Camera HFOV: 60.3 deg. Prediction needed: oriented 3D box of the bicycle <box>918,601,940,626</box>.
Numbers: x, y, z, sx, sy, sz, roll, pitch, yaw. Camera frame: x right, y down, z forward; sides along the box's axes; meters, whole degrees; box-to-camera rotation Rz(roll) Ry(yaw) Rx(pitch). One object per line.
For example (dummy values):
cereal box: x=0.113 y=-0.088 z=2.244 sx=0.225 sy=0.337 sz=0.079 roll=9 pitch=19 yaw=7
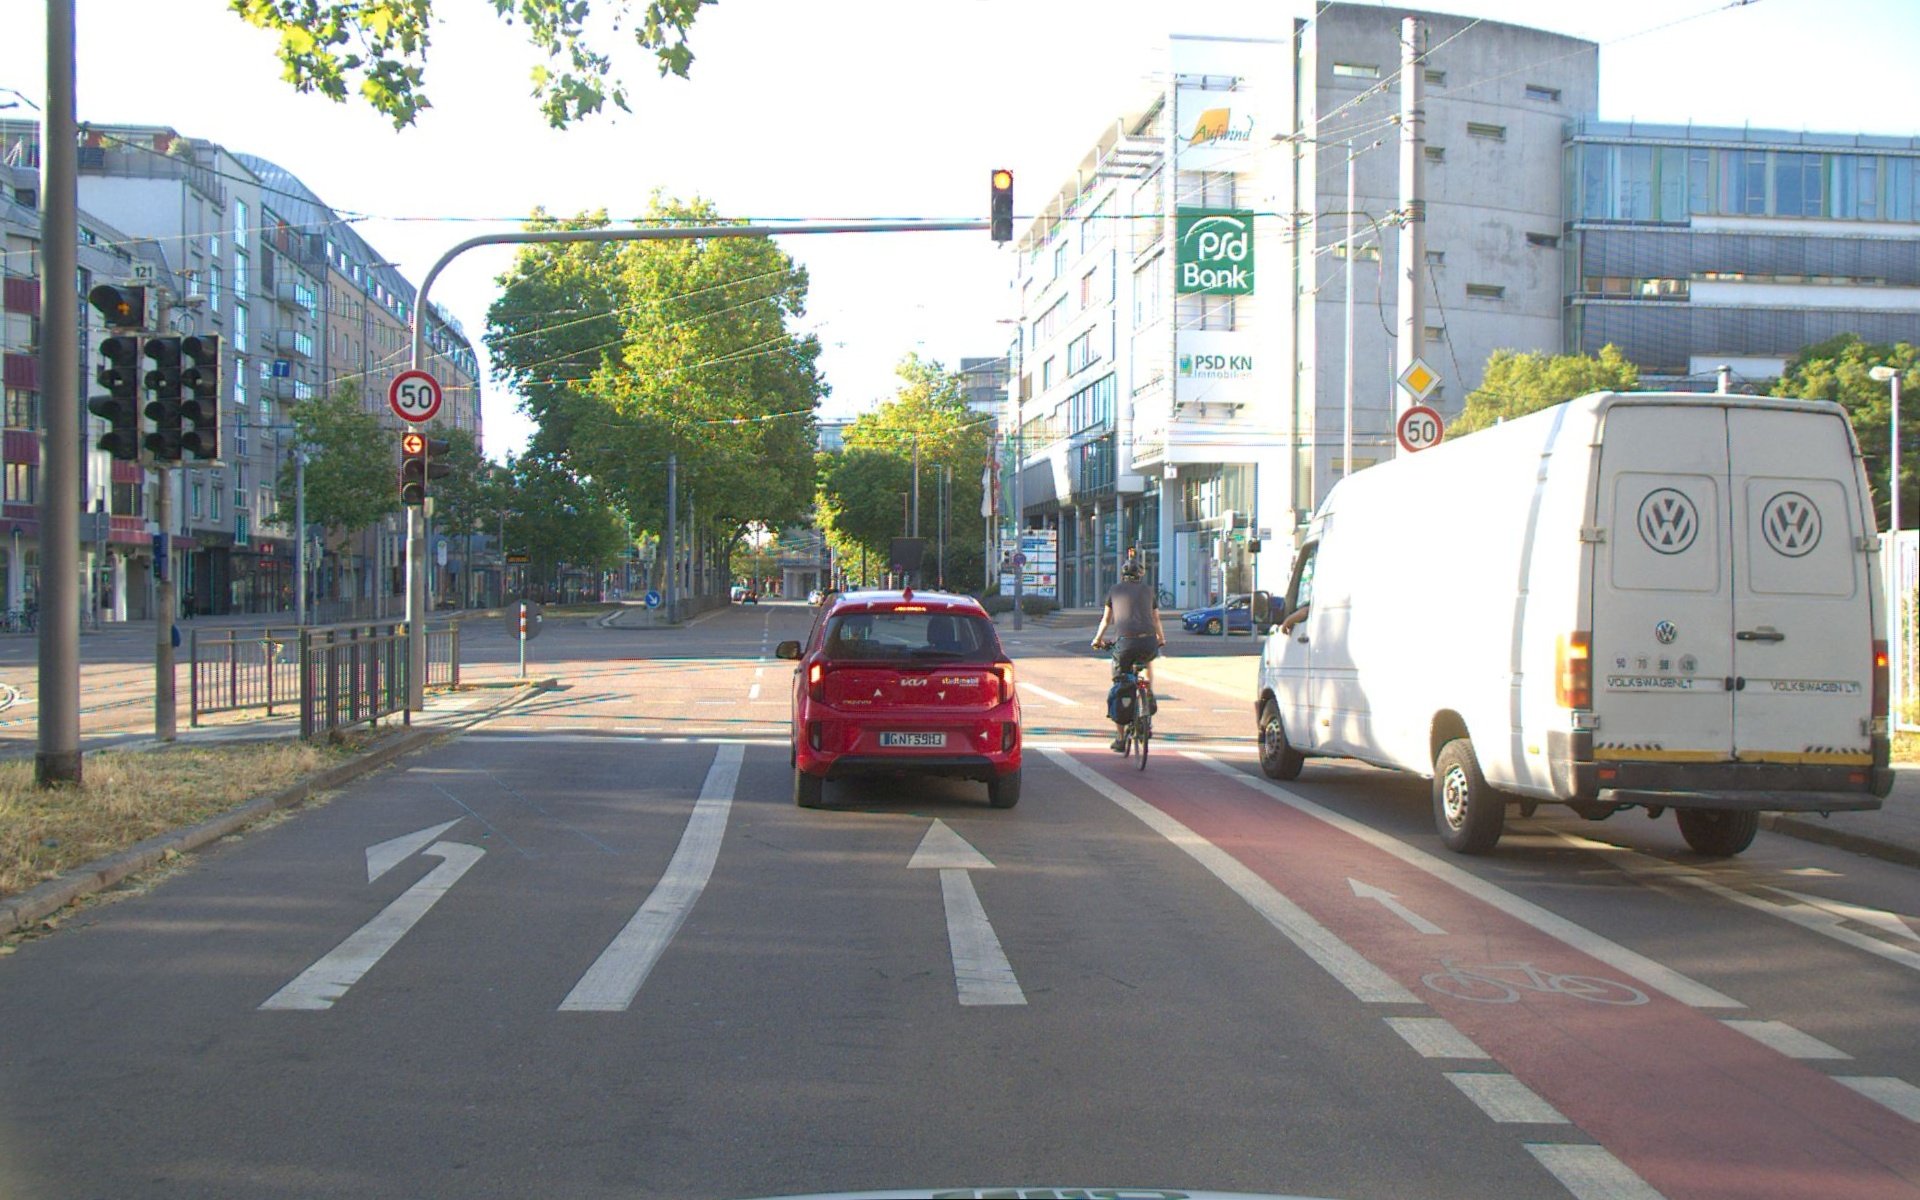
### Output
bicycle: x=-1.514 y=0.647 z=80.734 sx=0.778 sy=1.182 sz=2.495 roll=0 pitch=1 yaw=-9

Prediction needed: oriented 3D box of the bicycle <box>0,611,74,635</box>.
bicycle: x=-31.001 y=0.769 z=55.532 sx=2.130 sy=0.801 sz=0.491 roll=0 pitch=0 yaw=-11

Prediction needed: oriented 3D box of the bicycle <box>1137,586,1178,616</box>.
bicycle: x=9.733 y=0.047 z=81.487 sx=1.898 sy=1.468 sz=0.574 roll=-1 pitch=0 yaw=-9

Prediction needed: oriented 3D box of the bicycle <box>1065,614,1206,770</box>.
bicycle: x=1.550 y=0.792 z=15.029 sx=0.730 sy=1.245 sz=2.152 roll=2 pitch=1 yaw=-8

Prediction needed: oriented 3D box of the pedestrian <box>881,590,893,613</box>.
pedestrian: x=-5.388 y=0.103 z=121.664 sx=0.730 sy=1.746 sz=0.745 roll=0 pitch=0 yaw=-14

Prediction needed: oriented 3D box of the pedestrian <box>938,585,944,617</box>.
pedestrian: x=-0.967 y=0.042 z=84.272 sx=0.289 sy=1.589 sz=0.301 roll=0 pitch=0 yaw=-11

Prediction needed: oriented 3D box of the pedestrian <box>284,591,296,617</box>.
pedestrian: x=-37.682 y=0.211 z=93.035 sx=0.501 sy=1.484 sz=0.527 roll=0 pitch=0 yaw=-9

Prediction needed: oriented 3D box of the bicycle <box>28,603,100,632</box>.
bicycle: x=-31.152 y=0.606 z=57.526 sx=2.130 sy=0.967 sz=0.491 roll=0 pitch=0 yaw=-11

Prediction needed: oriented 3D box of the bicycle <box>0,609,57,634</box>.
bicycle: x=-31.157 y=0.720 z=54.745 sx=2.130 sy=0.801 sz=0.639 roll=0 pitch=0 yaw=-11

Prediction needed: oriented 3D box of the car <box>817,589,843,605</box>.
car: x=-13.425 y=-0.333 z=170.475 sx=2.432 sy=1.555 sz=4.423 roll=-1 pitch=1 yaw=-9

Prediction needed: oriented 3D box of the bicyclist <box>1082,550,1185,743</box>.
bicyclist: x=1.565 y=0.407 z=15.014 sx=0.729 sy=1.698 sz=0.743 roll=2 pitch=0 yaw=-8

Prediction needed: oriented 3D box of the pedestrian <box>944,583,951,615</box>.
pedestrian: x=-0.644 y=-0.051 z=84.644 sx=0.288 sy=1.589 sz=0.355 roll=0 pitch=0 yaw=-5

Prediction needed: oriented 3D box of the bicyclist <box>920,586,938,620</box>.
bicyclist: x=-1.526 y=0.140 z=80.850 sx=0.770 sy=1.663 sz=0.637 roll=0 pitch=0 yaw=-9

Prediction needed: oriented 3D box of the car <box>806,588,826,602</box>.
car: x=-16.172 y=-0.584 z=185.557 sx=1.850 sy=1.555 sz=4.421 roll=-1 pitch=1 yaw=-10

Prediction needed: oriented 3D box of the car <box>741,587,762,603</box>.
car: x=-22.770 y=-0.581 z=180.682 sx=2.021 sy=1.682 sz=3.482 roll=-1 pitch=1 yaw=-12

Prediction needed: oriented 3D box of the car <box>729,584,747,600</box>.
car: x=-29.865 y=-1.079 z=222.644 sx=1.953 sy=2.049 sz=3.999 roll=0 pitch=0 yaw=-1

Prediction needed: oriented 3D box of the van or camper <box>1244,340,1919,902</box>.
van or camper: x=3.987 y=0.100 z=11.569 sx=2.225 sy=2.781 sz=6.339 roll=2 pitch=0 yaw=-6

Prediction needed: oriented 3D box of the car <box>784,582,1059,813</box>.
car: x=-0.443 y=0.620 z=12.854 sx=1.804 sy=1.515 sz=3.711 roll=0 pitch=1 yaw=-7

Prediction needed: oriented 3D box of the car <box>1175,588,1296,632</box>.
car: x=10.394 y=0.350 z=62.595 sx=4.180 sy=1.595 sz=1.846 roll=-1 pitch=0 yaw=-9

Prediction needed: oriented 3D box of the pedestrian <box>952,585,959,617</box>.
pedestrian: x=-0.237 y=0.051 z=84.607 sx=0.288 sy=1.589 sz=0.314 roll=0 pitch=0 yaw=9

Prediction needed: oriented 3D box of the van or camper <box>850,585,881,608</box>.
van or camper: x=-7.922 y=-0.313 z=137.924 sx=2.106 sy=1.781 sz=4.421 roll=-1 pitch=1 yaw=-10

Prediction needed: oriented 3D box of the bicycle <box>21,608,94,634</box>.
bicycle: x=-31.030 y=0.723 z=56.894 sx=2.130 sy=0.838 sz=0.526 roll=0 pitch=0 yaw=-11

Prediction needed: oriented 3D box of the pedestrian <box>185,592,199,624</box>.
pedestrian: x=-35.944 y=0.368 z=77.391 sx=0.502 sy=1.484 sz=0.525 roll=-1 pitch=0 yaw=-17
